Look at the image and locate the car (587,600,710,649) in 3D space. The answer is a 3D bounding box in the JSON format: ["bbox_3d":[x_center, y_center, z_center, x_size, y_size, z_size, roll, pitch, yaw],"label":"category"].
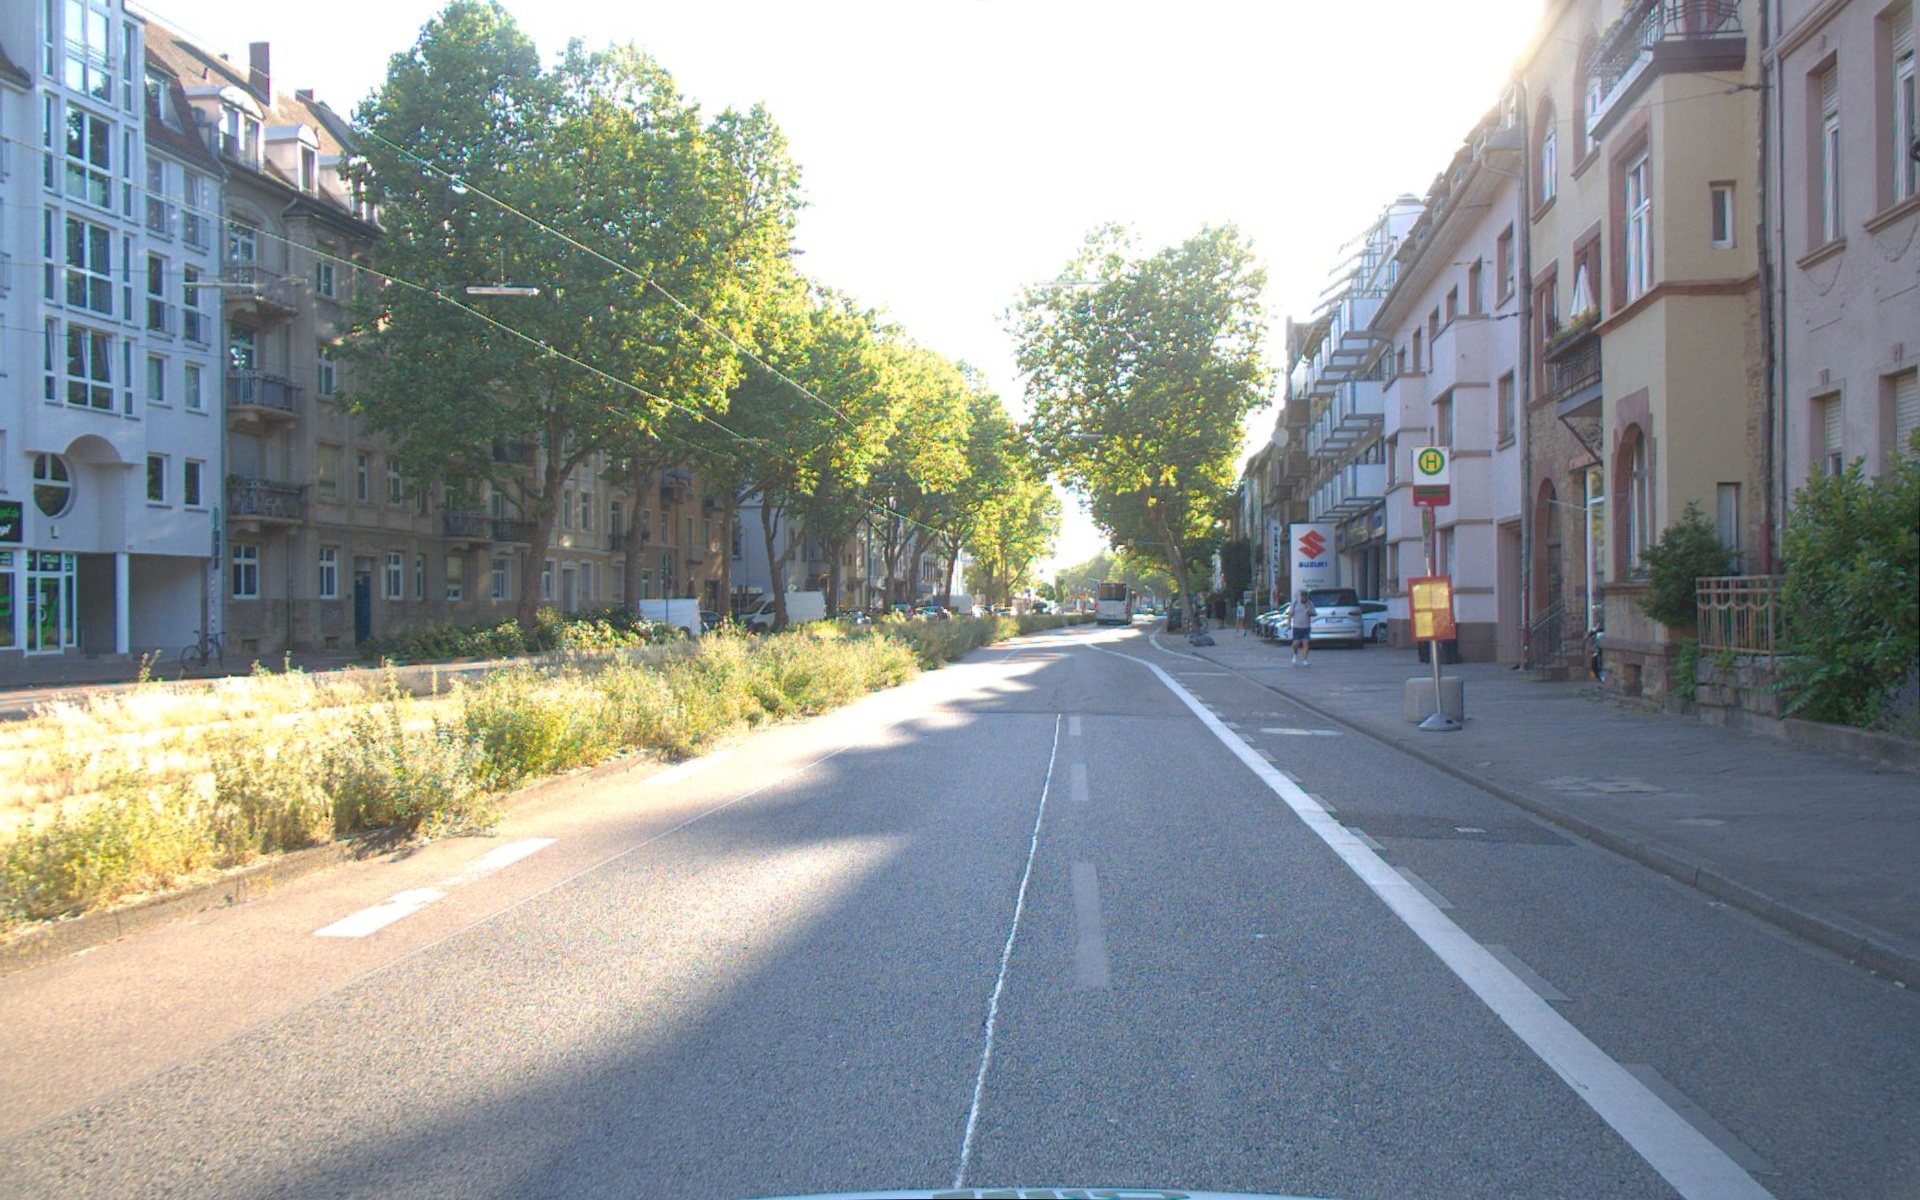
[{"bbox_3d":[-13.867,1.077,73.857,5.186,2.102,1.700,0,-1,-35],"label":"car"}]

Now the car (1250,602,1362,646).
[{"bbox_3d":[12.439,0.862,59.672,3.786,1.540,1.810,-1,0,5],"label":"car"}]

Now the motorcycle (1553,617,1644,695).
[{"bbox_3d":[9.902,0.858,25.738,0.577,1.157,2.506,0,-1,4],"label":"motorcycle"}]

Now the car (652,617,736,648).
[{"bbox_3d":[-12.903,1.541,80.362,3.685,1.447,1.700,0,-1,-35],"label":"car"}]

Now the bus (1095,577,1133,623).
[{"bbox_3d":[11.717,0.051,126.493,2.773,3.292,8.186,0,-1,5],"label":"bus"}]

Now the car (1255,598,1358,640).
[{"bbox_3d":[13.442,0.748,64.402,3.738,1.567,1.860,-1,-1,5],"label":"car"}]

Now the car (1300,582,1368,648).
[{"bbox_3d":[11.899,0.503,52.813,1.852,1.983,4.904,-1,-1,10],"label":"car"}]

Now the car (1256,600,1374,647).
[{"bbox_3d":[12.282,0.802,57.371,3.731,1.527,1.914,0,1,2],"label":"car"}]

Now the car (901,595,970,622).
[{"bbox_3d":[-2.513,0.850,170.728,6.819,2.725,2.178,0,-1,-14],"label":"car"}]

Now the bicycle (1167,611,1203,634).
[{"bbox_3d":[11.404,1.134,83.797,1.805,1.163,0.348,-1,-2,7],"label":"bicycle"}]

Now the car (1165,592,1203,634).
[{"bbox_3d":[12.480,0.757,92.498,1.951,2.297,5.238,-1,-1,6],"label":"car"}]

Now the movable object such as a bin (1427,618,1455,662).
[{"bbox_3d":[11.102,0.924,38.194,0.542,0.986,0.585,-1,-1,9],"label":"movable object such as a bin"}]

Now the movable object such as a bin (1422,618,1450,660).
[{"bbox_3d":[11.165,0.917,38.811,0.542,0.986,0.585,-1,-1,9],"label":"movable object such as a bin"}]

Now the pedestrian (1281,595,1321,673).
[{"bbox_3d":[8.194,0.822,39.749,0.811,1.844,1.151,-1,-1,6],"label":"pedestrian"}]

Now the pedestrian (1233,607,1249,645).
[{"bbox_3d":[12.553,1.171,73.802,0.649,1.657,0.923,-1,-1,7],"label":"pedestrian"}]

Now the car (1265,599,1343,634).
[{"bbox_3d":[15.711,0.761,75.679,3.346,1.574,1.443,0,-1,5],"label":"car"}]

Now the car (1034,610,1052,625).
[{"bbox_3d":[9.819,2.095,196.099,1.831,1.723,4.775,0,-1,-1],"label":"car"}]

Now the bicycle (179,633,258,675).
[{"bbox_3d":[-19.951,1.436,44.547,0.742,1.050,1.895,5,1,21],"label":"bicycle"}]

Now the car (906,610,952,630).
[{"bbox_3d":[-2.910,1.883,155.056,3.936,1.728,1.842,-2,-1,-25],"label":"car"}]

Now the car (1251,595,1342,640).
[{"bbox_3d":[13.484,0.699,66.408,3.504,1.750,1.683,-1,1,9],"label":"car"}]

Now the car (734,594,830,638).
[{"bbox_3d":[-10.630,0.931,98.874,5.445,2.573,2.100,0,-1,-35],"label":"car"}]
